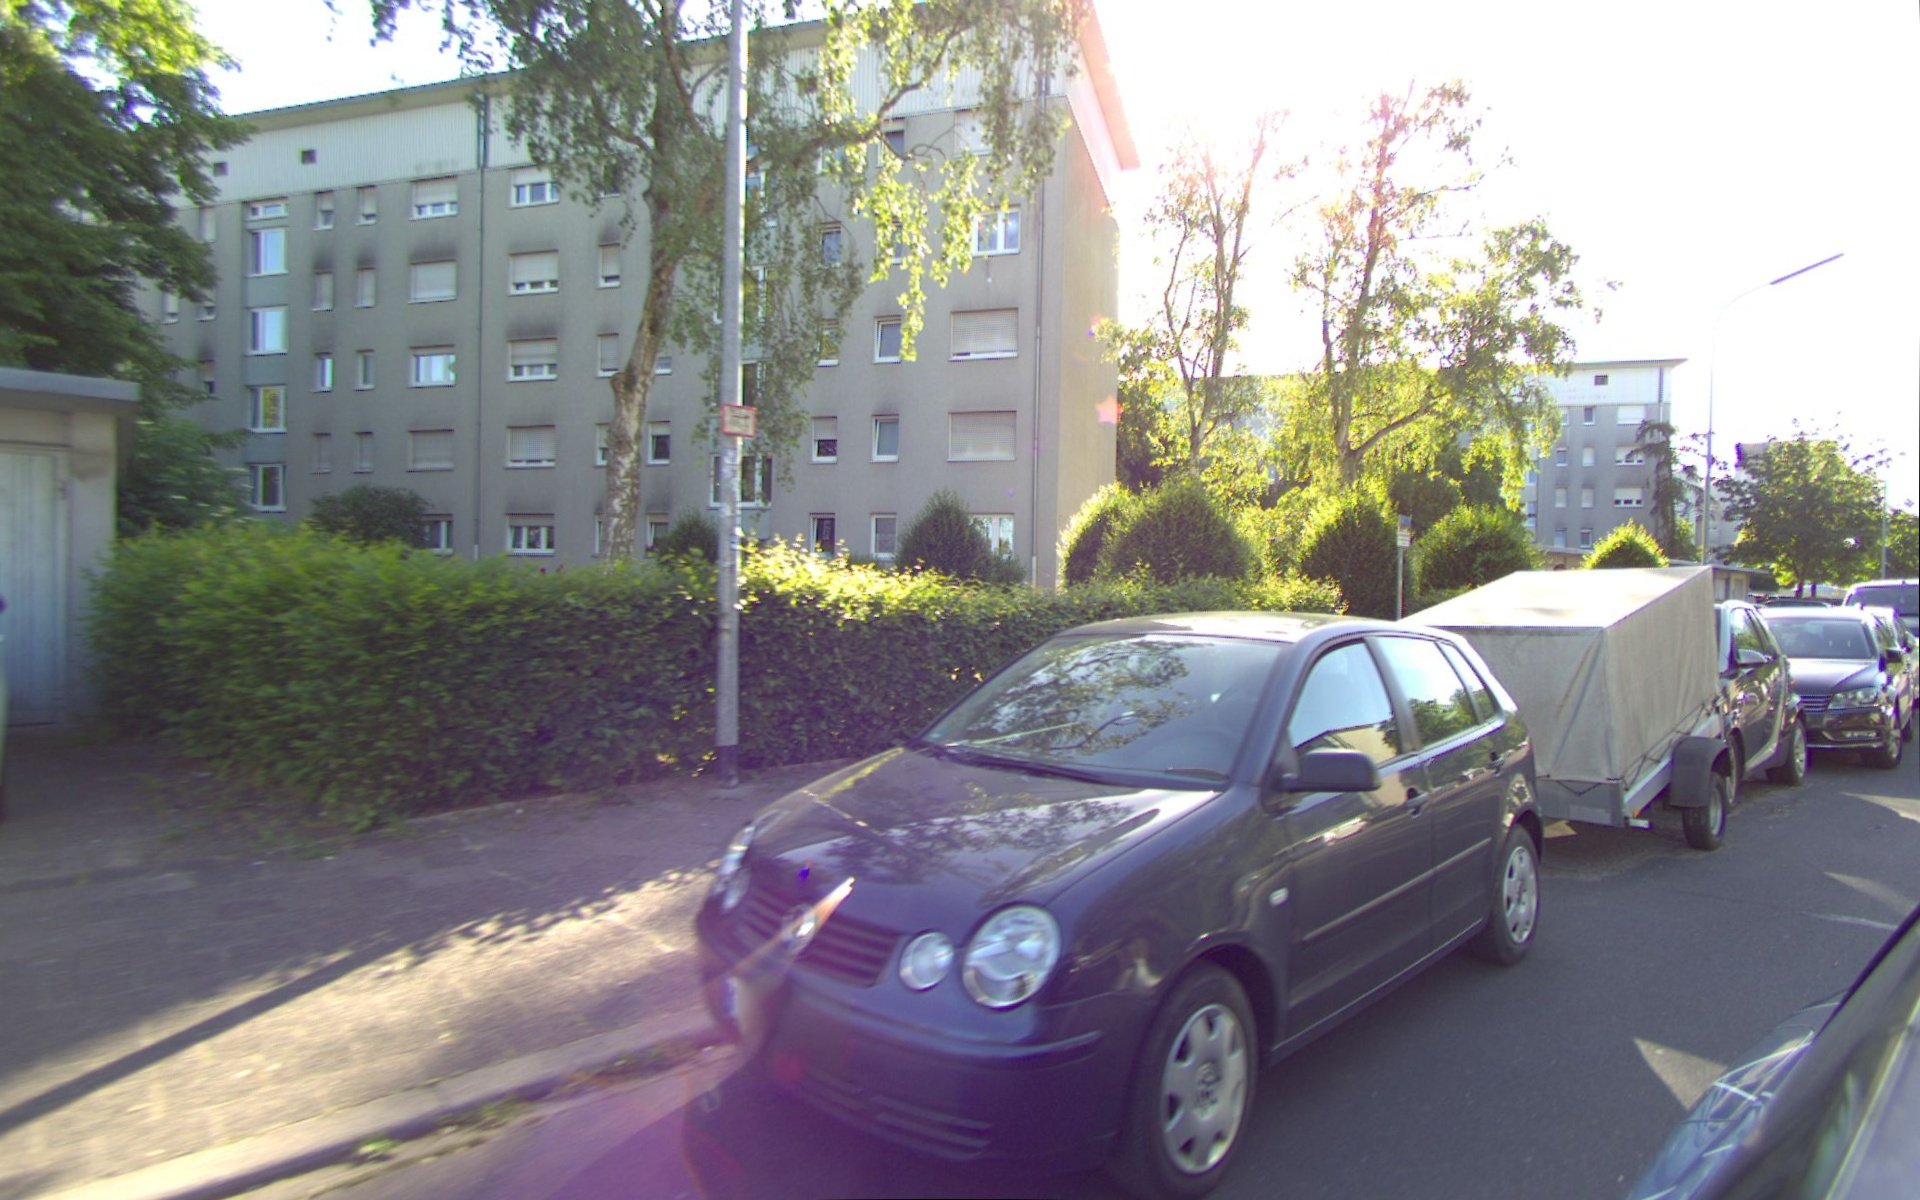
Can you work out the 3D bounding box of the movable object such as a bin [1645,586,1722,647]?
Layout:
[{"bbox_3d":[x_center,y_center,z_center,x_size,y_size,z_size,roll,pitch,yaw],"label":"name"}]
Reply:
[{"bbox_3d":[17.438,0.379,24.392,1.112,1.382,1.227,0,1,-38],"label":"movable object such as a bin"}]

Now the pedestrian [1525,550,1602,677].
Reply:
[{"bbox_3d":[9.503,0.195,15.938,0.857,1.911,0.705,0,3,-40],"label":"pedestrian"}]

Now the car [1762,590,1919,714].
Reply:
[{"bbox_3d":[12.732,0.626,14.277,3.967,1.509,1.625,0,0,-42],"label":"car"}]

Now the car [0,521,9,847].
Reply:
[{"bbox_3d":[-6.476,0.311,5.566,1.798,1.532,3.947,0,3,-44],"label":"car"}]

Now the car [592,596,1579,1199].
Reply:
[{"bbox_3d":[0.820,0.697,3.854,3.831,1.421,1.733,0,0,-44],"label":"car"}]

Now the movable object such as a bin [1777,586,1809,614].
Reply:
[{"bbox_3d":[46.775,-0.004,56.807,1.321,1.499,1.013,1,1,43],"label":"movable object such as a bin"}]

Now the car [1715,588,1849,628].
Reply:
[{"bbox_3d":[34.435,0.299,42.475,1.788,1.513,4.186,0,1,-44],"label":"car"}]

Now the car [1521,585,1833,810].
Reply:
[{"bbox_3d":[5.905,0.662,8.287,2.511,1.543,1.418,0,0,-38],"label":"car"}]

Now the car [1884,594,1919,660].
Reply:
[{"bbox_3d":[23.013,0.593,23.438,4.553,1.436,1.804,0,1,-40],"label":"car"}]

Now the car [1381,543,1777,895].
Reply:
[{"bbox_3d":[3.983,0.583,6.419,2.539,1.740,1.491,0,0,-42],"label":"car"}]

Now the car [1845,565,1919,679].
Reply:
[{"bbox_3d":[18.184,0.363,19.008,4.624,1.959,1.855,0,0,-42],"label":"car"}]

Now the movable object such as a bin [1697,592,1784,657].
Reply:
[{"bbox_3d":[17.501,0.530,22.694,1.359,1.325,1.031,1,4,-31],"label":"movable object such as a bin"}]

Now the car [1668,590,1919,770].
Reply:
[{"bbox_3d":[9.011,0.662,10.664,4.427,1.509,1.733,0,0,-44],"label":"car"}]
